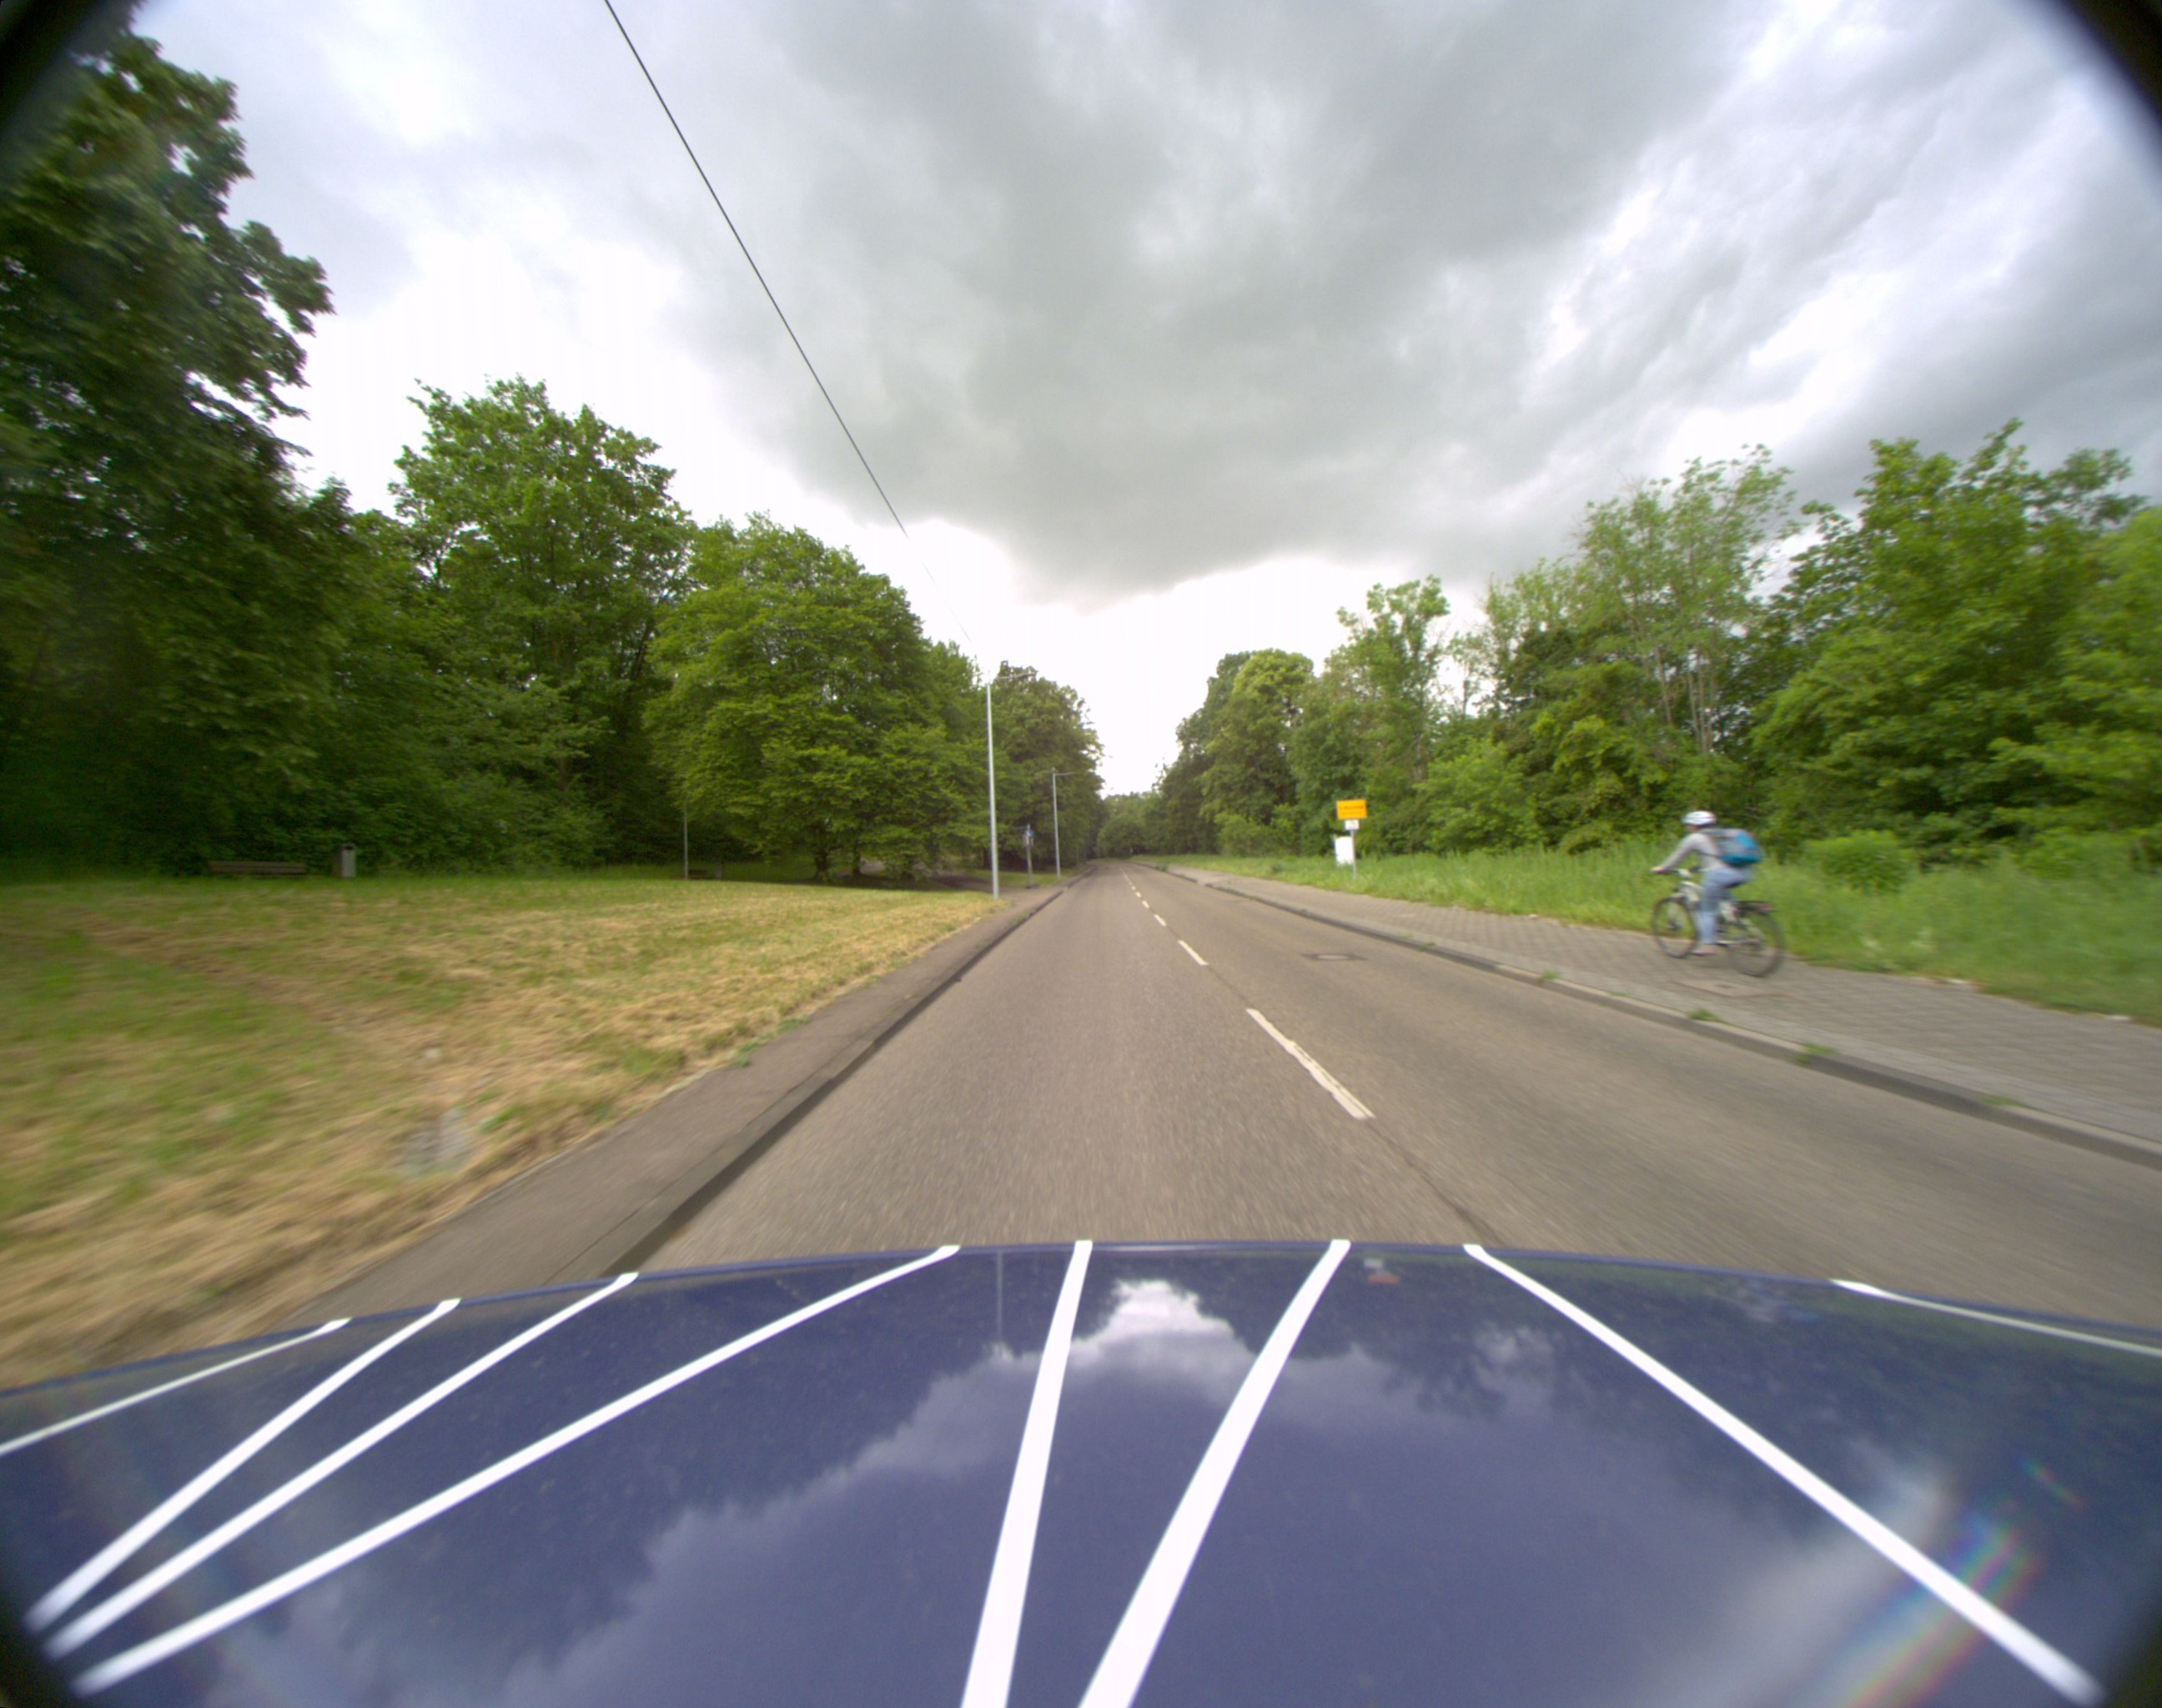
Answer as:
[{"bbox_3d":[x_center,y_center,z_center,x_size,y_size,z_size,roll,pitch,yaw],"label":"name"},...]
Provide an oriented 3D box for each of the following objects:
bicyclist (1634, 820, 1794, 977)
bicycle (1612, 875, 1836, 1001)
[{"bbox_3d":[6.637,0.439,8.049,0.667,1.511,1.271,-2,0,5],"label":"bicyclist"},{"bbox_3d":[6.652,0.807,8.050,0.667,1.068,2.146,-2,0,5],"label":"bicycle"}]
